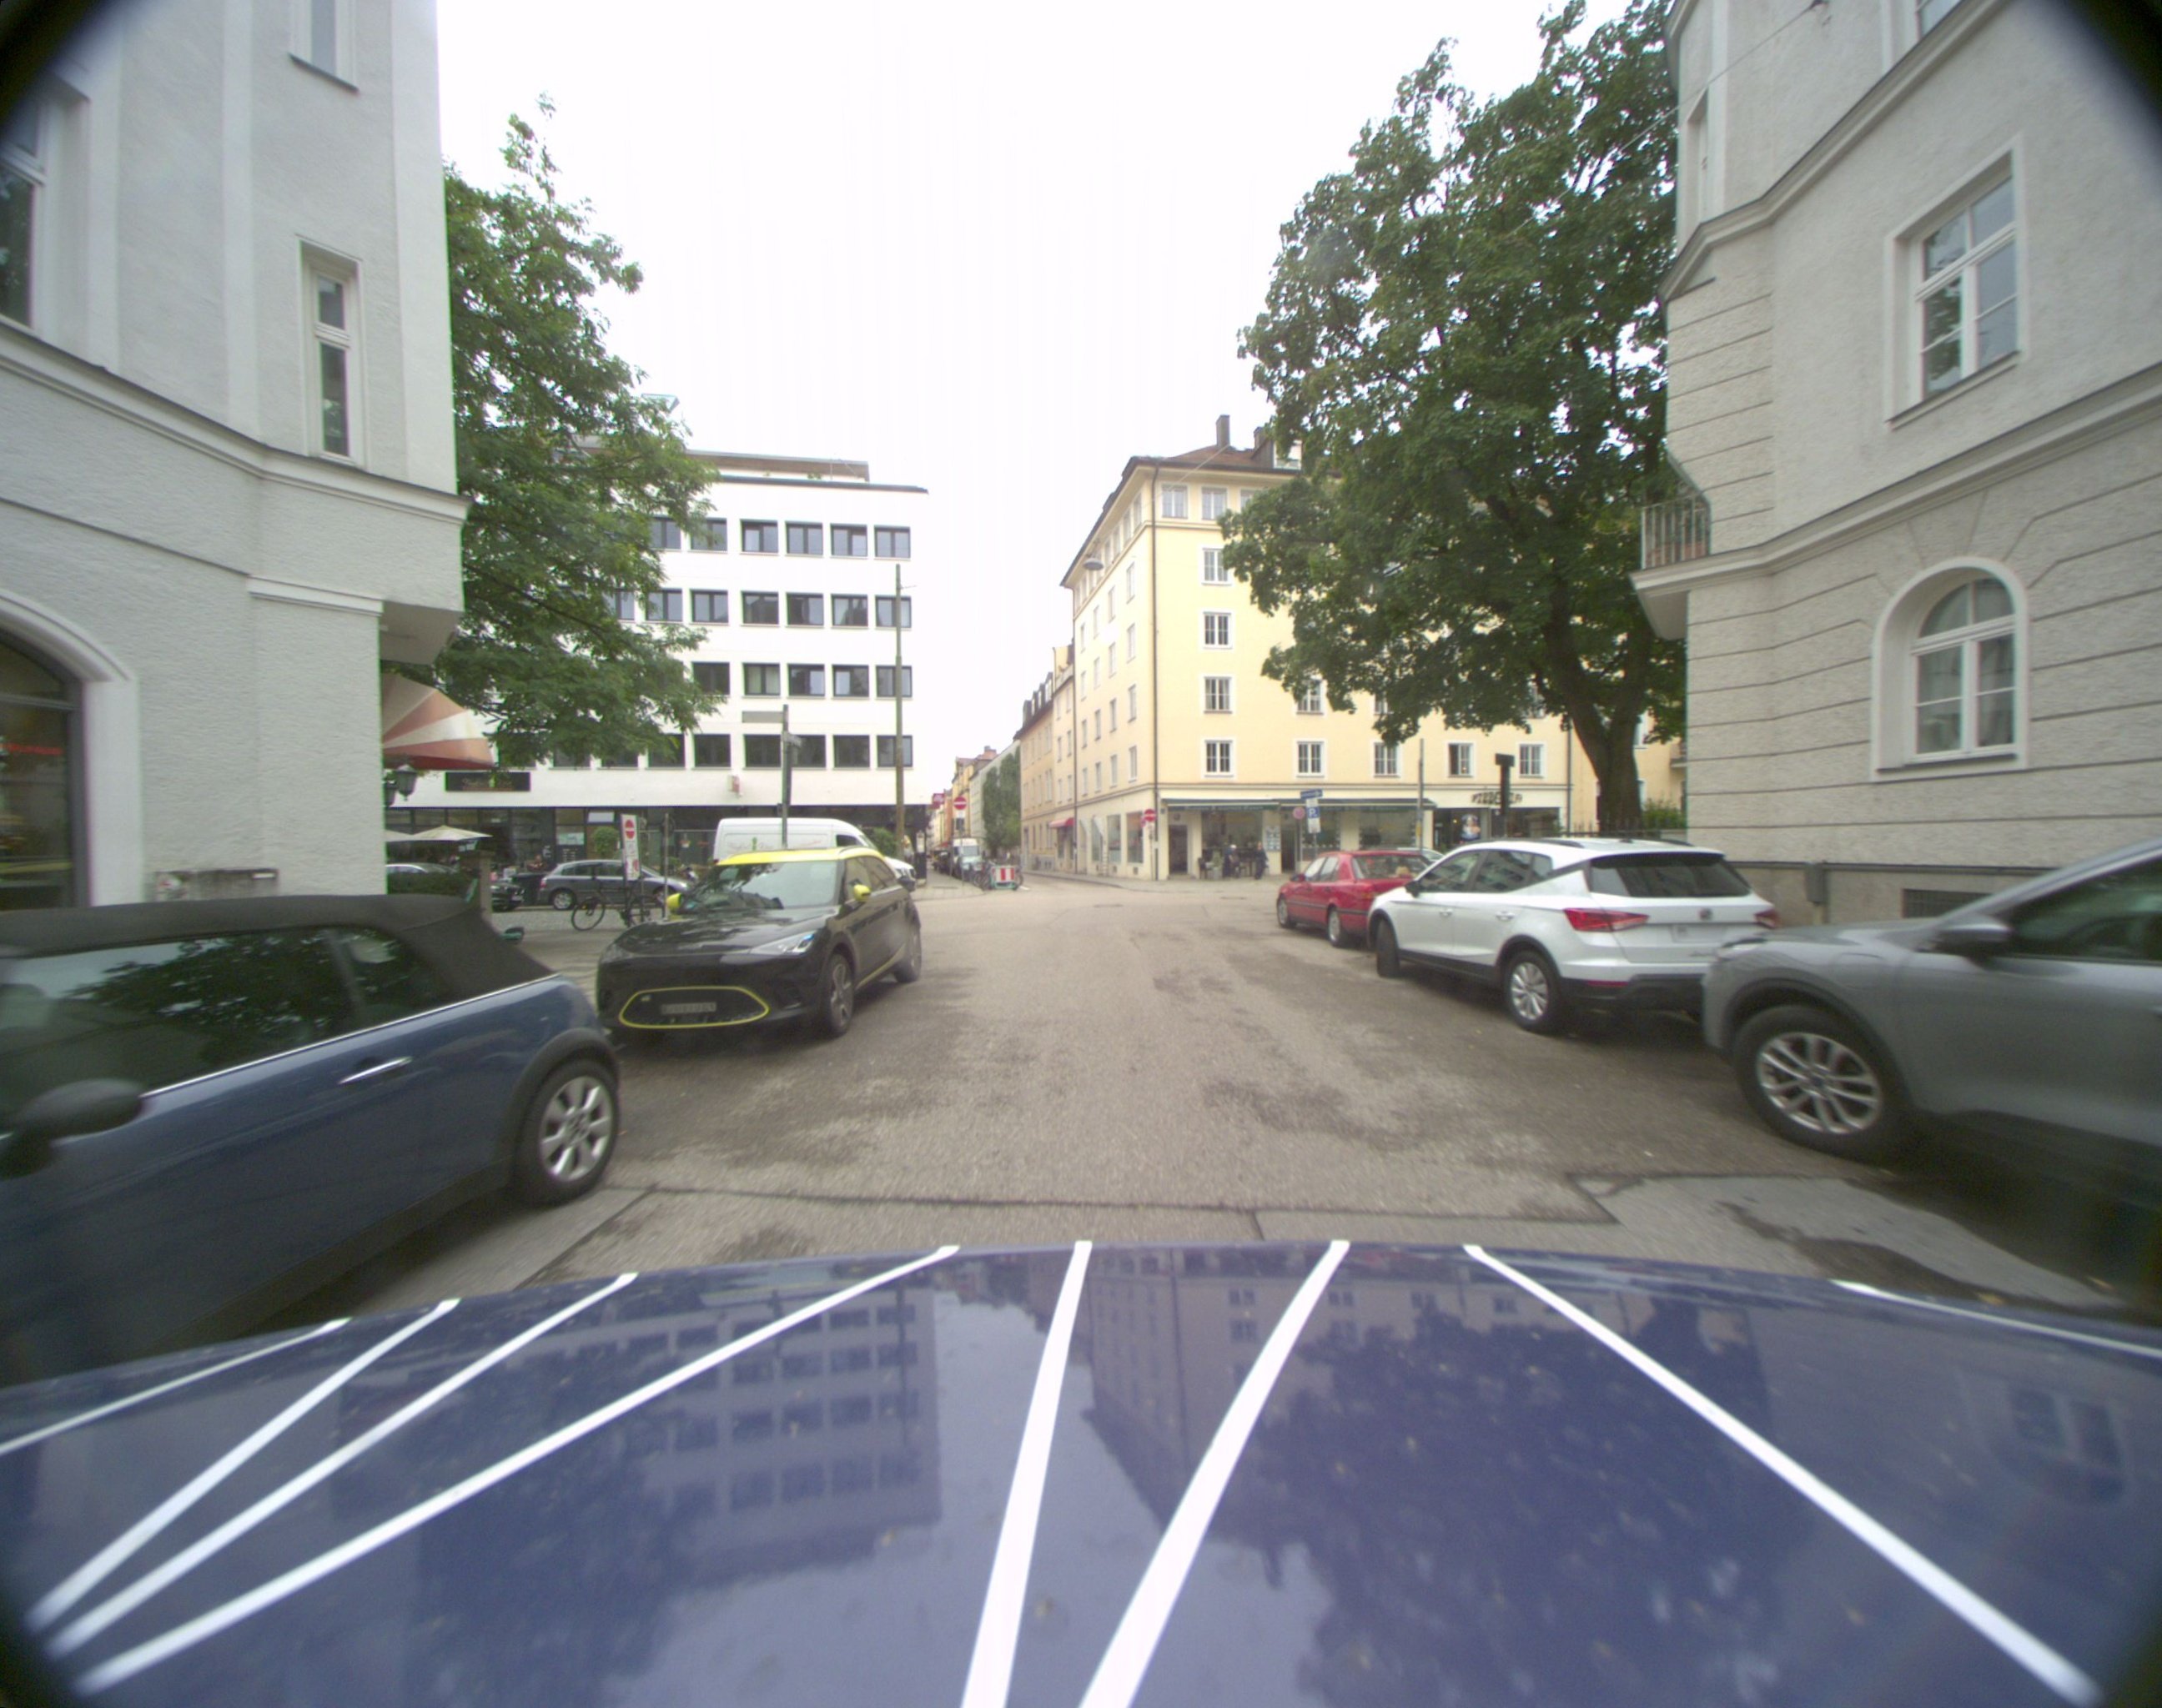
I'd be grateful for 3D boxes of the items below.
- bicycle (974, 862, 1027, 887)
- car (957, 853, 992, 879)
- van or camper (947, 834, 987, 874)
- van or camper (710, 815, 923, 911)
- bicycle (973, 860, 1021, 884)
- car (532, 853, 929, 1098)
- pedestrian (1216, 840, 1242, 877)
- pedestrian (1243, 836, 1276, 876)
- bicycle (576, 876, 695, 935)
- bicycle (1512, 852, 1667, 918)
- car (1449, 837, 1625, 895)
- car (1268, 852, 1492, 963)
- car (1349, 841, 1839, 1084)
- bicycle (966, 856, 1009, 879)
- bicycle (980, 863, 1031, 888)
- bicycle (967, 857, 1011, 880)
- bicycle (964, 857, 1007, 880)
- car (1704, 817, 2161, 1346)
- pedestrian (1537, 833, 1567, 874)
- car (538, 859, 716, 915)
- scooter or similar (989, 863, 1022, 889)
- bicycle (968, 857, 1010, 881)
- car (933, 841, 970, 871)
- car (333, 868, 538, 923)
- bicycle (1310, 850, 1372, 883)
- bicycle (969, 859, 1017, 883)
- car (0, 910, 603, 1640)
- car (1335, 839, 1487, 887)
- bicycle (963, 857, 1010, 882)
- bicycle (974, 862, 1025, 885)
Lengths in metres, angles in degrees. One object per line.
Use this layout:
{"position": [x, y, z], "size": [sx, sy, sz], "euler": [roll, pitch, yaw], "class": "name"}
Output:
{"position": [-3.494, 0.885, 32.780], "size": [2.178, 0.971, 0.974], "euler": [-1, 1, -12], "class": "bicycle"}
{"position": [-6.166, 0.640, 43.696], "size": [1.760, 1.386, 3.996], "euler": [-1, 1, -11], "class": "car"}
{"position": [-7.713, -0.016, 50.930], "size": [1.968, 2.494, 5.715], "euler": [-2, 1, -15], "class": "van or camper"}
{"position": [-8.050, 0.286, 23.724], "size": [5.870, 2.697, 2.304], "euler": [-1, -2, -7], "class": "van or camper"}
{"position": [-3.889, 0.824, 35.004], "size": [2.106, 1.026, 0.974], "euler": [-1, 1, -12], "class": "bicycle"}
{"position": [-2.914, 0.870, 7.480], "size": [1.841, 1.609, 4.094], "euler": [-4, 1, 1], "class": "car"}
{"position": [6.528, 0.188, 33.511], "size": [0.920, 1.602, 0.777], "euler": [-1, 1, 30], "class": "pedestrian"}
{"position": [7.700, 0.089, 32.742], "size": [1.125, 1.667, 0.870], "euler": [-1, 1, -8], "class": "pedestrian"}
{"position": [-8.987, 1.033, 15.351], "size": [2.009, 1.124, 0.687], "euler": [-1, 1, 5], "class": "bicycle"}
{"position": [9.881, 0.541, 14.947], "size": [0.807, 1.157, 2.647], "euler": [-2, 1, -15], "class": "bicycle"}
{"position": [12.729, 0.287, 21.345], "size": [4.000, 1.450, 1.792], "euler": [-1, 2, -8], "class": "car"}
{"position": [4.400, 0.684, 12.015], "size": [1.685, 1.385, 4.478], "euler": [0, 1, -1], "class": "car"}
{"position": [4.144, 0.683, 7.051], "size": [1.699, 1.559, 3.949], "euler": [-1, 1, -4], "class": "car"}
{"position": [-4.969, 0.708, 40.403], "size": [2.206, 1.139, 0.695], "euler": [-1, 1, -12], "class": "bicycle"}
{"position": [-3.162, 0.873, 31.636], "size": [1.995, 0.958, 0.972], "euler": [-1, 1, -12], "class": "bicycle"}
{"position": [-4.738, 0.737, 39.022], "size": [2.182, 1.139, 0.674], "euler": [-1, 1, -12], "class": "bicycle"}
{"position": [-5.164, 0.768, 41.059], "size": [2.208, 1.139, 0.638], "euler": [-1, 1, -12], "class": "bicycle"}
{"position": [4.317, 0.700, 2.015], "size": [1.841, 1.668, 4.212], "euler": [-1, 1, -1], "class": "car"}
{"position": [20.802, -0.016, 33.564], "size": [0.780, 1.779, 0.854], "euler": [-2, 1, -33], "class": "pedestrian"}
{"position": [-13.377, 0.974, 22.635], "size": [4.146, 1.476, 1.892], "euler": [-1, -2, -11], "class": "car"}
{"position": [-3.030, 0.878, 30.503], "size": [1.283, 0.970, 0.498], "euler": [-1, 1, -11], "class": "scooter or similar"}
{"position": [-4.618, 0.758, 38.262], "size": [2.037, 1.139, 0.668], "euler": [-1, 1, -12], "class": "bicycle"}
{"position": [-9.631, 0.118, 56.200], "size": [2.002, 2.122, 3.993], "euler": [-2, 1, -19], "class": "car"}
{"position": [-18.329, 1.180, 21.765], "size": [4.170, 1.381, 1.795], "euler": [-1, -3, -8], "class": "car"}
{"position": [9.769, 0.451, 28.560], "size": [2.149, 1.195, 0.811], "euler": [0, 2, 20], "class": "bicycle"}
{"position": [-4.204, 0.808, 36.129], "size": [2.154, 1.026, 0.974], "euler": [-1, 1, -12], "class": "bicycle"}
{"position": [-3.176, 1.032, 1.848], "size": [1.670, 1.392, 3.492], "euler": [-4, 1, 1], "class": "car"}
{"position": [11.647, 0.327, 26.960], "size": [4.490, 1.473, 2.028], "euler": [-1, -3, -10], "class": "car"}
{"position": [-4.675, 0.758, 37.434], "size": [2.209, 1.139, 0.739], "euler": [-1, 1, -12], "class": "bicycle"}
{"position": [-3.651, 0.862, 33.929], "size": [2.175, 0.958, 0.974], "euler": [-1, 1, -12], "class": "bicycle"}
